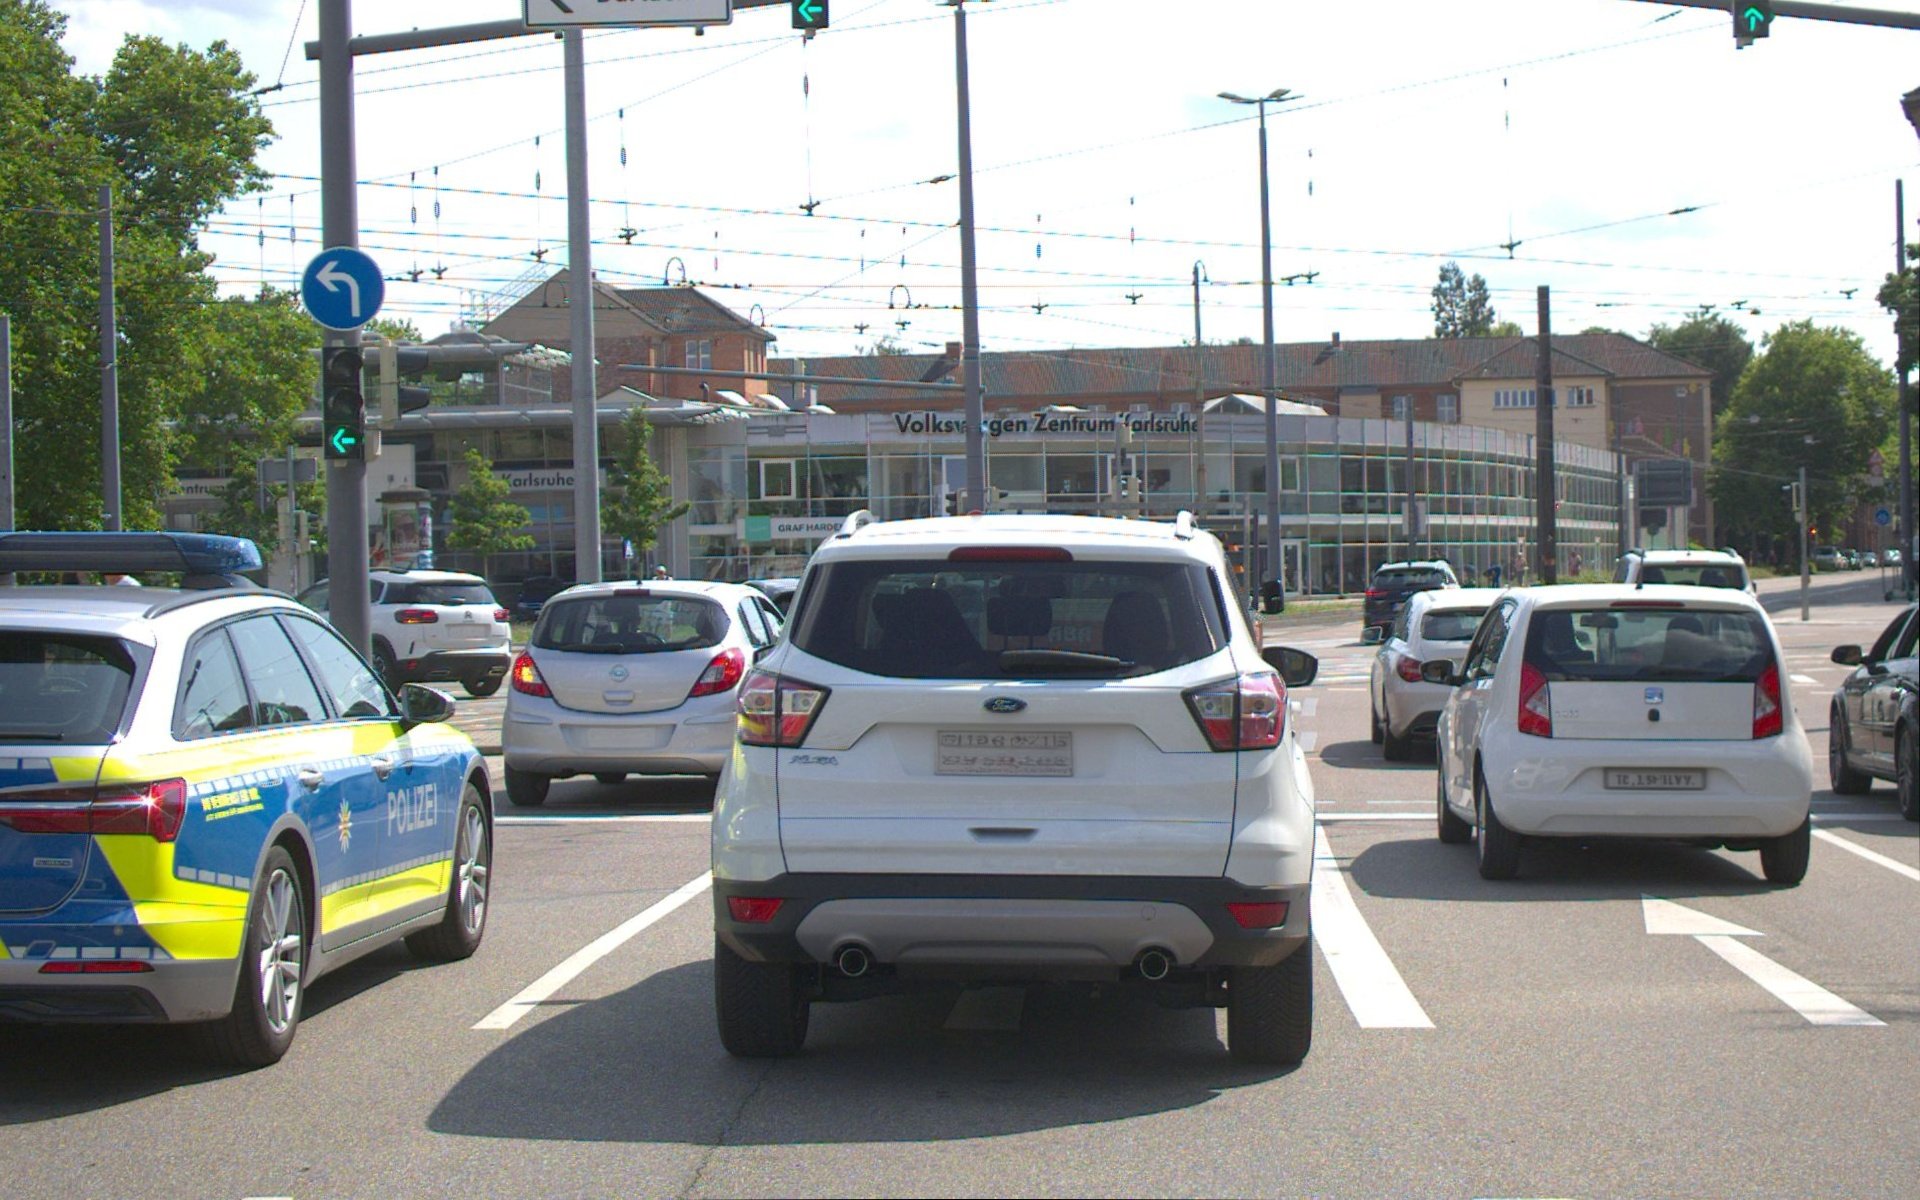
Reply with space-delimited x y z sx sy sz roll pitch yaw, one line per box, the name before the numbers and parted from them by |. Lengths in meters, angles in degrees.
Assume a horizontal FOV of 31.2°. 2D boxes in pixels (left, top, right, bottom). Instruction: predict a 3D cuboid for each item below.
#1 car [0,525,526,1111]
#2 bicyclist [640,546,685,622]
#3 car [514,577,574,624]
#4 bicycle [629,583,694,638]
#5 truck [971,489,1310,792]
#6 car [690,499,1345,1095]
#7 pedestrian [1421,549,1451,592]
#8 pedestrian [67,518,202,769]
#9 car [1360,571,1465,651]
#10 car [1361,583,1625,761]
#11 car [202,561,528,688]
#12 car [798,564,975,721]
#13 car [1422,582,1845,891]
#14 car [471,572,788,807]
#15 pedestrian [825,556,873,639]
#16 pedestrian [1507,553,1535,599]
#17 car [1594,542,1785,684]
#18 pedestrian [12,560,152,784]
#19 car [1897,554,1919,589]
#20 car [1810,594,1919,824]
car | -2.823 0.575 11.550 1.880 1.563 4.615 -1 0 3
bicyclist | -6.695 -0.354 77.375 0.760 1.677 0.760 -2 0 14
car | -14.352 0.027 118.790 1.818 1.528 3.917 -3 0 -5
bicycle | -6.697 0.227 77.302 0.760 1.188 2.149 -2 0 14
truck | 1.587 0.265 27.654 2.339 2.148 5.850 1 0 7
car | 0.259 0.539 11.599 1.827 1.658 3.955 0 0 3
pedestrian | 19.282 -1.181 139.344 0.877 1.731 0.874 1 0 35
pedestrian | -6.420 0.336 26.757 0.847 1.910 0.692 -1 0 -1
car | 8.254 0.190 62.815 1.850 1.414 3.678 0 0 7
car | 4.468 0.569 29.278 1.850 1.414 3.678 0 0 3
car | -7.832 0.292 44.961 2.040 1.573 4.537 0 0 -43
car | -0.806 0.416 37.074 1.762 1.563 4.527 -1 0 -1
car | 3.502 0.649 18.515 1.649 1.417 4.000 -1 1 3
car | -2.205 0.558 23.897 1.848 1.469 4.000 -1 0 -1
pedestrian | -2.353 -0.055 72.965 0.924 1.738 0.589 1 0 6
pedestrian | 23.709 -1.014 145.360 0.877 1.916 0.874 1 0 33
car | 8.838 0.161 41.918 1.837 1.646 3.999 0 0 6
pedestrian | -6.619 0.536 25.939 0.847 1.642 0.692 -1 0 -1
car | 46.243 -1.366 165.647 1.838 1.646 3.996 0 0 19
car | 6.751 0.647 22.477 1.699 1.367 4.132 0 0 5
